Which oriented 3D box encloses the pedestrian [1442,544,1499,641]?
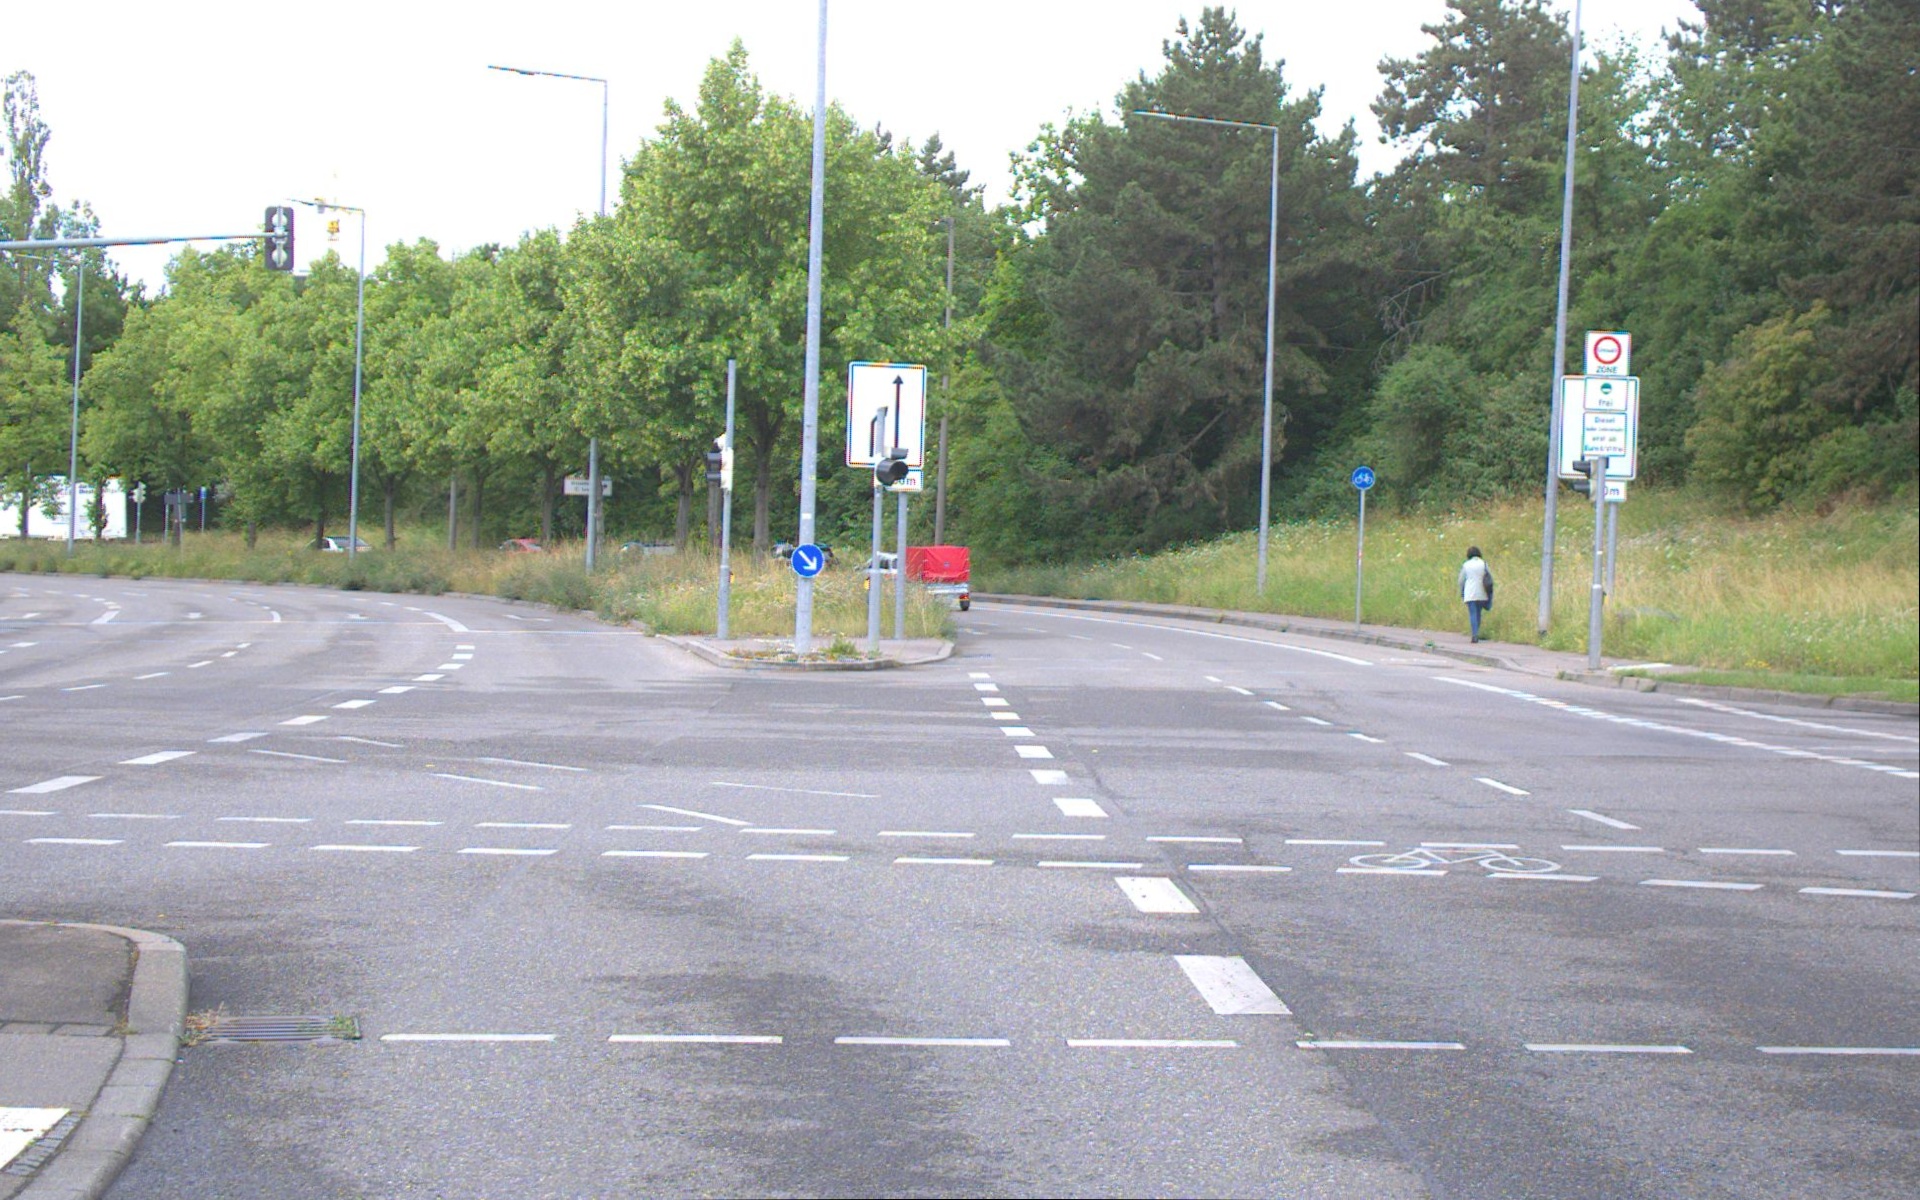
[{"bbox_3d":[8.671,-0.125,58.364,0.814,1.622,0.791,1,1,-1],"label":"pedestrian"}]

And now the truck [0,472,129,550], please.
[{"bbox_3d":[-41.191,-3.961,152.339,11.399,3.317,2.742,2,2,44],"label":"truck"}]

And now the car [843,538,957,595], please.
[{"bbox_3d":[-1.617,-0.904,90.386,1.777,1.416,4.460,0,1,-18],"label":"car"}]

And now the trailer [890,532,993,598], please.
[{"bbox_3d":[-0.483,-0.889,86.818,1.764,1.610,3.045,0,1,-18],"label":"trailer"}]
